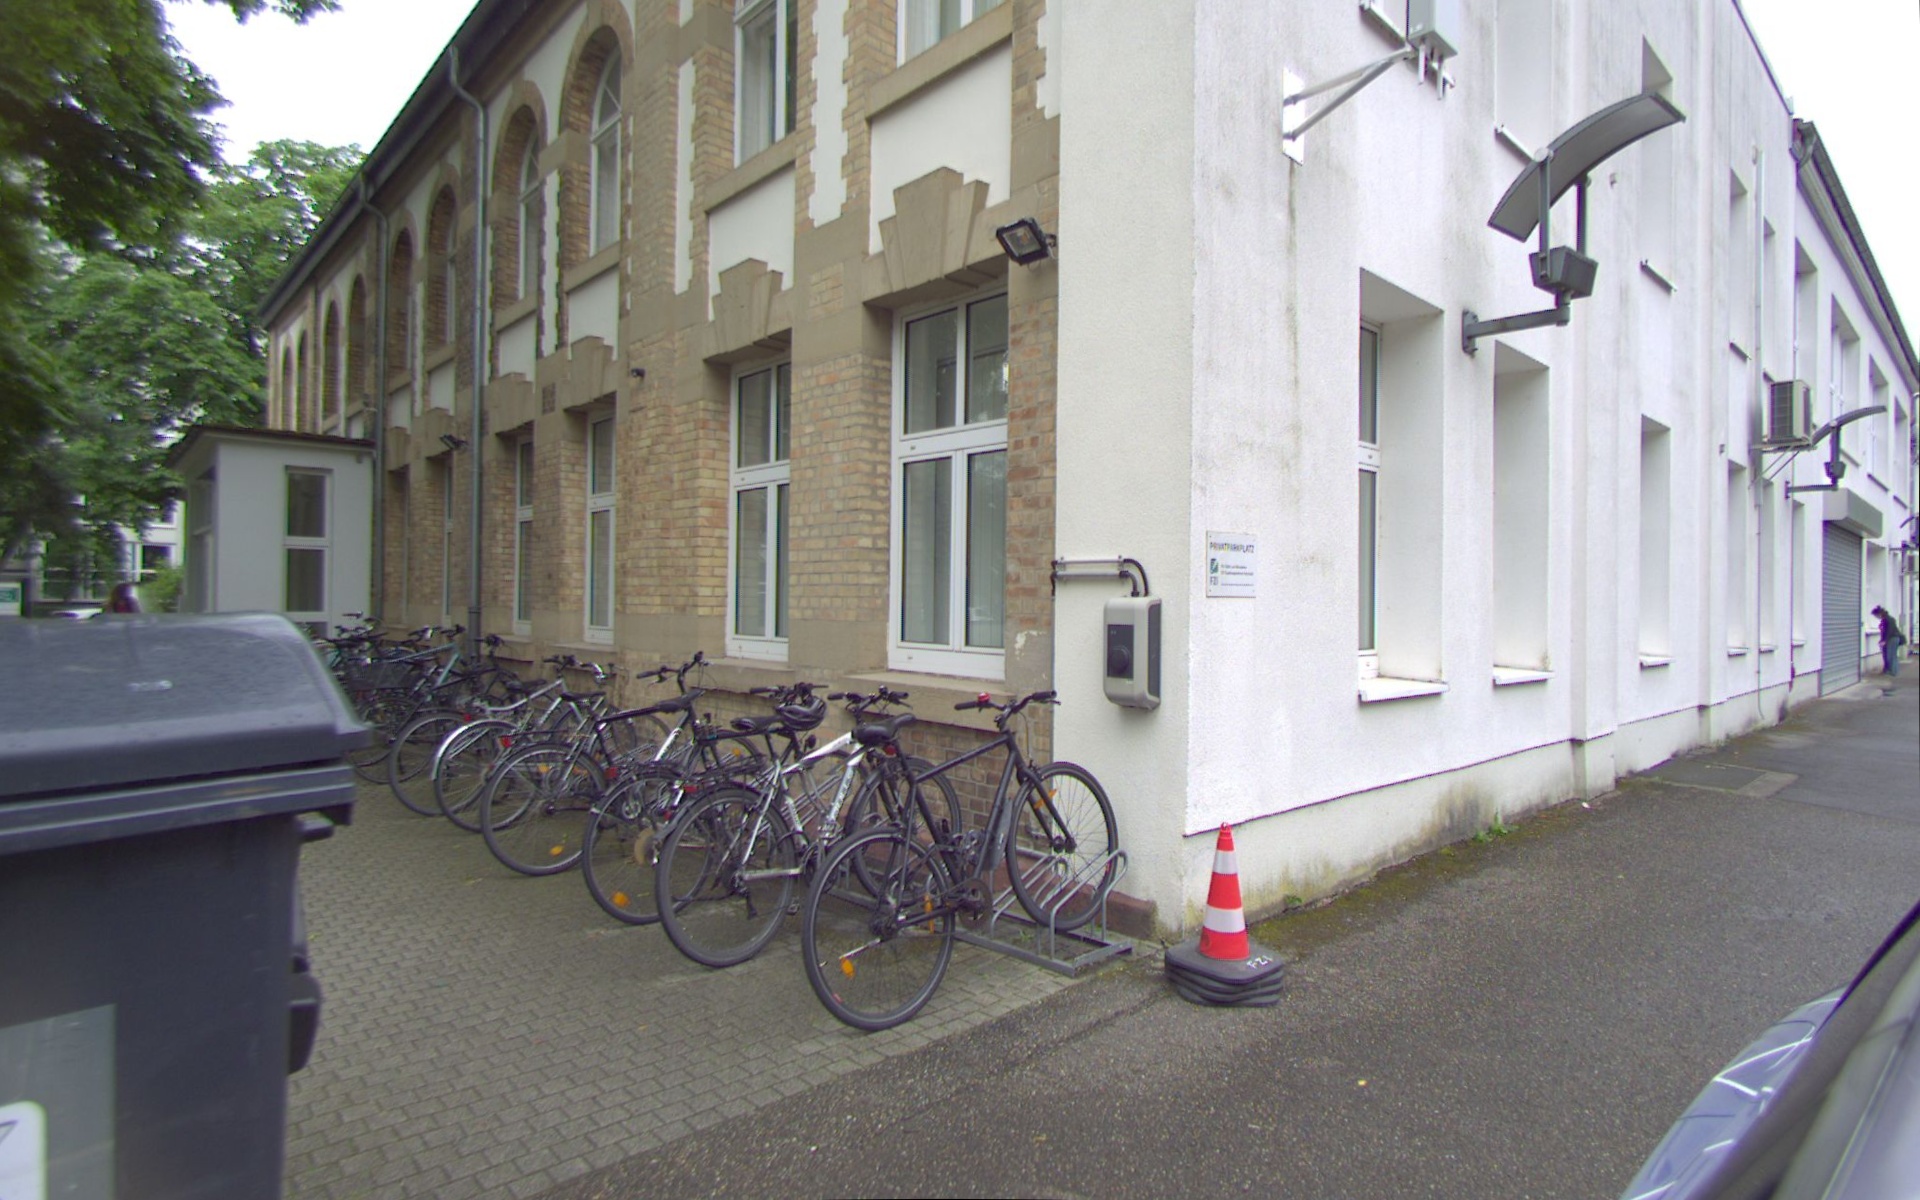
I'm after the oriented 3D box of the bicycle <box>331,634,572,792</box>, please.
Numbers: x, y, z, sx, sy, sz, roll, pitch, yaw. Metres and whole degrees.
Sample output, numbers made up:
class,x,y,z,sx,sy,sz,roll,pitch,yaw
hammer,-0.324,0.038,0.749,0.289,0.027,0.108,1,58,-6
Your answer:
class,x,y,z,sx,sy,sz,roll,pitch,yaw
bicycle,-4.144,0.875,8.338,1.714,1.129,0.460,0,0,-41

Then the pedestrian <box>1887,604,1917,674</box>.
class,x,y,z,sx,sy,sz,roll,pitch,yaw
pedestrian,21.511,0.881,23.108,0.497,1.582,0.422,0,0,44

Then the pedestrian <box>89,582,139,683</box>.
class,x,y,z,sx,sy,sz,roll,pitch,yaw
pedestrian,-13.811,0.516,16.518,0.594,1.607,0.626,1,0,-43

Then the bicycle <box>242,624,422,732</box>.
class,x,y,z,sx,sy,sz,roll,pitch,yaw
bicycle,-7.216,0.859,11.685,1.714,1.129,0.460,0,0,-41

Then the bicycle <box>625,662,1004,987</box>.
class,x,y,z,sx,sy,sz,roll,pitch,yaw
bicycle,-0.581,0.892,4.554,1.714,1.129,0.460,0,0,-41

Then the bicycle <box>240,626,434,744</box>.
class,x,y,z,sx,sy,sz,roll,pitch,yaw
bicycle,-6.613,0.864,10.805,1.714,1.129,0.460,0,0,-41

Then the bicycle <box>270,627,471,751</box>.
class,x,y,z,sx,sy,sz,roll,pitch,yaw
bicycle,-5.971,0.865,10.318,1.714,1.129,0.460,0,0,-41

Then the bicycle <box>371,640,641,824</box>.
class,x,y,z,sx,sy,sz,roll,pitch,yaw
bicycle,-3.215,0.880,7.282,1.714,1.129,0.460,0,0,-41

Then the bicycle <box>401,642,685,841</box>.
class,x,y,z,sx,sy,sz,roll,pitch,yaw
bicycle,-2.753,0.882,6.815,1.714,1.129,0.460,0,0,-41

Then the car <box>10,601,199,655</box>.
class,x,y,z,sx,sy,sz,roll,pitch,yaw
car,-24.225,0.746,28.827,1.787,1.371,3.792,0,0,16

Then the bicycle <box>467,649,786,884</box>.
class,x,y,z,sx,sy,sz,roll,pitch,yaw
bicycle,-1.886,0.886,5.894,1.713,1.129,0.460,0,0,-39

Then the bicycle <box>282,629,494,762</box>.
class,x,y,z,sx,sy,sz,roll,pitch,yaw
bicycle,-5.453,0.868,9.723,1.714,1.129,0.460,0,0,-41

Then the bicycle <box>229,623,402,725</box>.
class,x,y,z,sx,sy,sz,roll,pitch,yaw
bicycle,-7.772,0.857,12.250,1.714,1.129,0.460,0,0,-41

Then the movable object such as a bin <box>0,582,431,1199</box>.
class,x,y,z,sx,sy,sz,roll,pitch,yaw
movable object such as a bin,-1.707,0.709,1.494,1.104,1.468,1.342,0,-1,42

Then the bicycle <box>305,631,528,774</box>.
class,x,y,z,sx,sy,sz,roll,pitch,yaw
bicycle,-4.851,0.871,9.115,1.714,1.129,0.460,0,0,-41

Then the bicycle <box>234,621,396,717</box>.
class,x,y,z,sx,sy,sz,roll,pitch,yaw
bicycle,-8.289,0.852,13.055,1.714,1.129,0.460,0,0,-41

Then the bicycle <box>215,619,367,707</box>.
class,x,y,z,sx,sy,sz,roll,pitch,yaw
bicycle,-9.248,0.837,14.030,1.714,1.129,0.460,0,0,-41

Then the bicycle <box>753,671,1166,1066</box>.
class,x,y,z,sx,sy,sz,roll,pitch,yaw
bicycle,0.078,0.894,3.915,1.714,1.129,0.460,0,0,-41

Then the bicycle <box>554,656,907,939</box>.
class,x,y,z,sx,sy,sz,roll,pitch,yaw
bicycle,-1.086,0.889,5.086,1.714,1.129,0.460,0,0,-41
